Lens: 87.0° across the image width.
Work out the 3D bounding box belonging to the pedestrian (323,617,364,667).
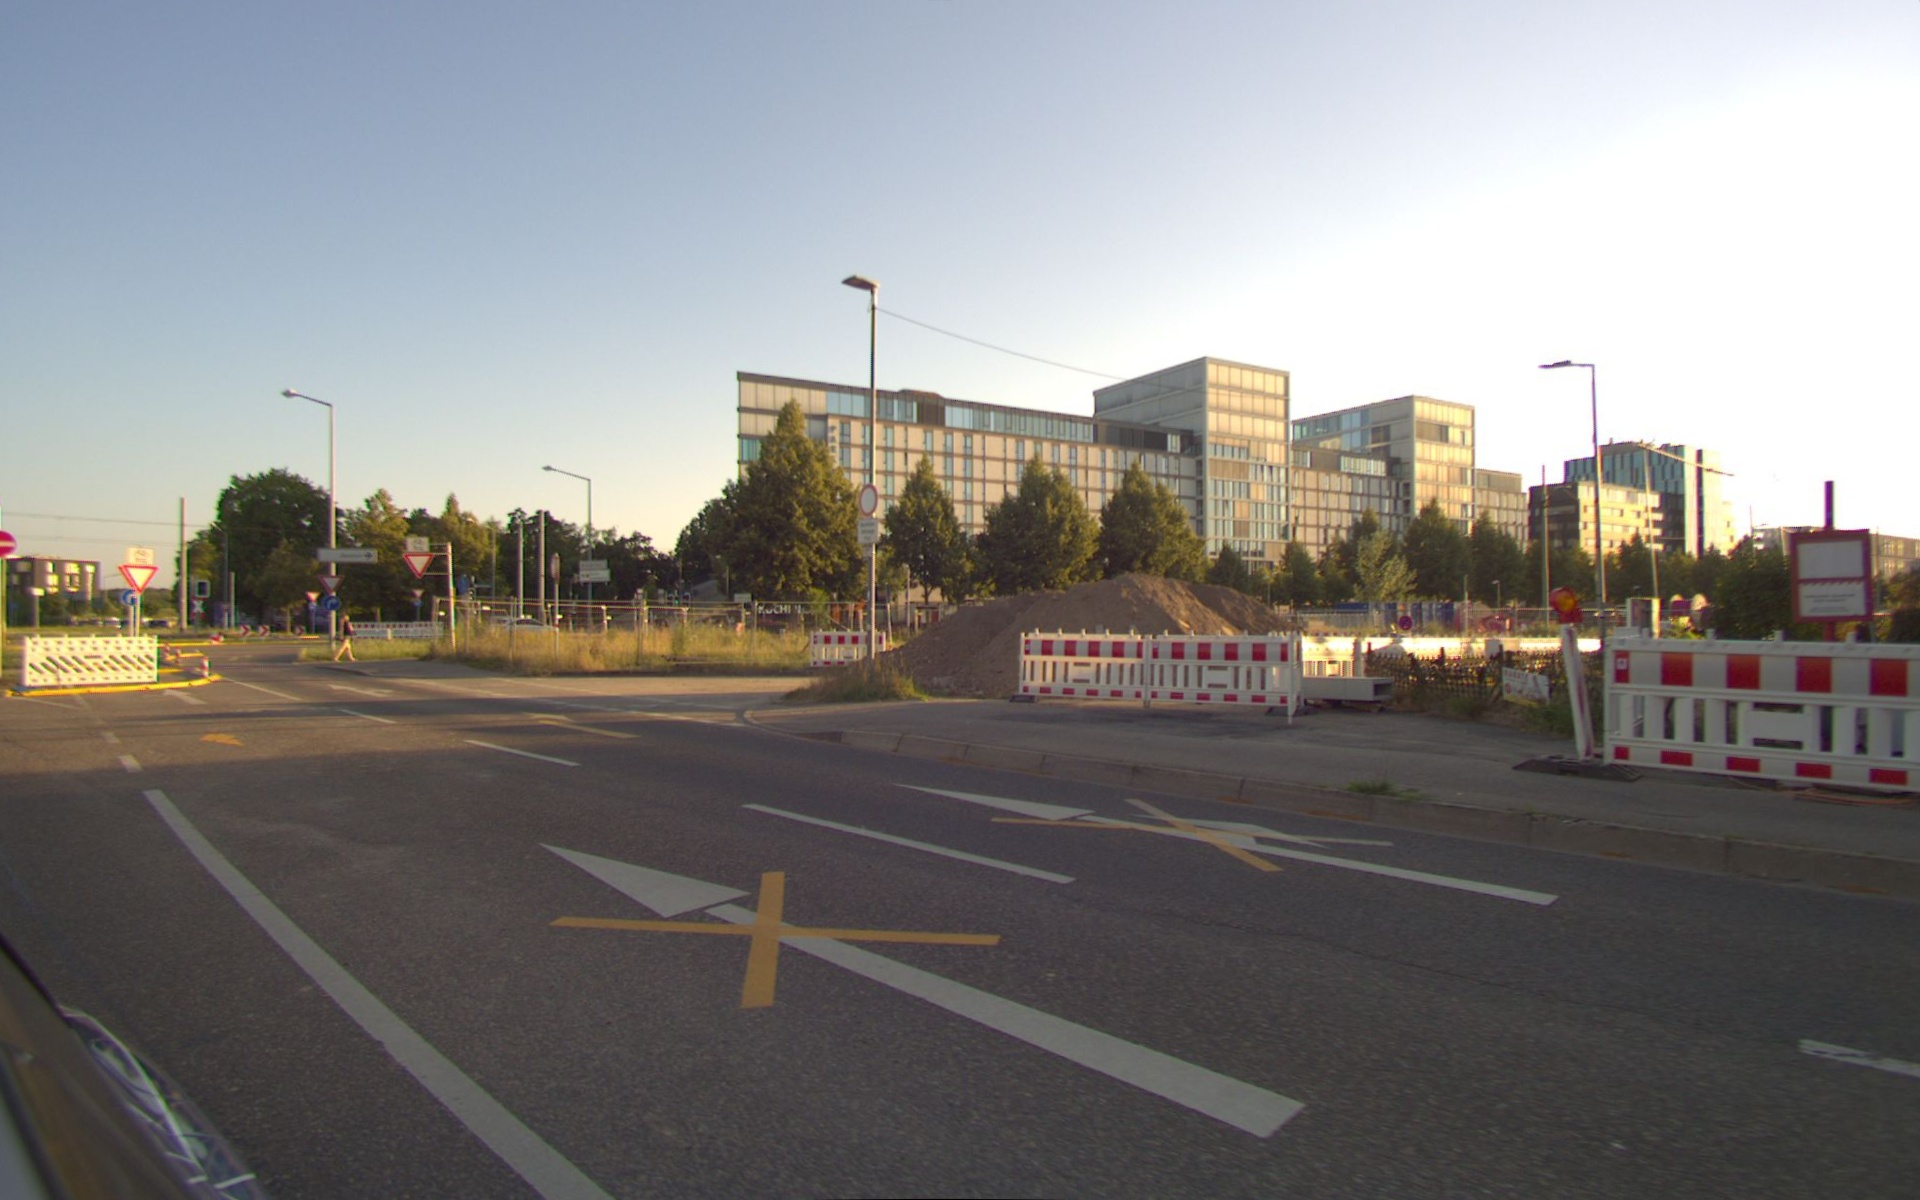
[{"bbox_3d":[-21.619,1.467,35.493,0.784,1.708,0.918,-1,-3,28],"label":"pedestrian"}]

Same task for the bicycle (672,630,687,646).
[{"bbox_3d":[-18.609,2.511,67.100,0.689,1.052,2.086,1,-1,-24],"label":"bicycle"}]

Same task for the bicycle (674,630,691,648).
[{"bbox_3d":[-17.417,2.444,63.467,0.689,1.052,2.086,1,-1,-24],"label":"bicycle"}]

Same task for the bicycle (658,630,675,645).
[{"bbox_3d":[-20.308,2.582,70.063,0.689,1.052,2.086,1,-1,-28],"label":"bicycle"}]

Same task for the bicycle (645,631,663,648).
[{"bbox_3d":[-18.885,2.429,62.511,0.689,1.052,2.086,1,-1,-28],"label":"bicycle"}]

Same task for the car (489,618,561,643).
[{"bbox_3d":[-27.234,1.904,63.475,1.626,1.475,3.957,-1,-1,31],"label":"car"}]

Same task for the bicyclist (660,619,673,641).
[{"bbox_3d":[-20.355,2.087,70.179,0.689,1.502,0.977,1,-2,-28],"label":"bicyclist"}]

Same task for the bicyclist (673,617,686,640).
[{"bbox_3d":[-18.634,1.907,67.180,0.689,1.502,0.977,1,-2,-24],"label":"bicyclist"}]

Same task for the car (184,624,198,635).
[{"bbox_3d":[-149.179,5.703,196.274,1.967,2.029,4.009,1,-2,-36],"label":"car"}]

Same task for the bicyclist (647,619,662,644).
[{"bbox_3d":[-18.841,1.931,62.440,0.689,1.502,0.977,1,-2,-28],"label":"bicyclist"}]

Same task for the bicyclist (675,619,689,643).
[{"bbox_3d":[-17.417,1.958,63.486,0.689,1.502,0.977,1,-2,-24],"label":"bicyclist"}]
